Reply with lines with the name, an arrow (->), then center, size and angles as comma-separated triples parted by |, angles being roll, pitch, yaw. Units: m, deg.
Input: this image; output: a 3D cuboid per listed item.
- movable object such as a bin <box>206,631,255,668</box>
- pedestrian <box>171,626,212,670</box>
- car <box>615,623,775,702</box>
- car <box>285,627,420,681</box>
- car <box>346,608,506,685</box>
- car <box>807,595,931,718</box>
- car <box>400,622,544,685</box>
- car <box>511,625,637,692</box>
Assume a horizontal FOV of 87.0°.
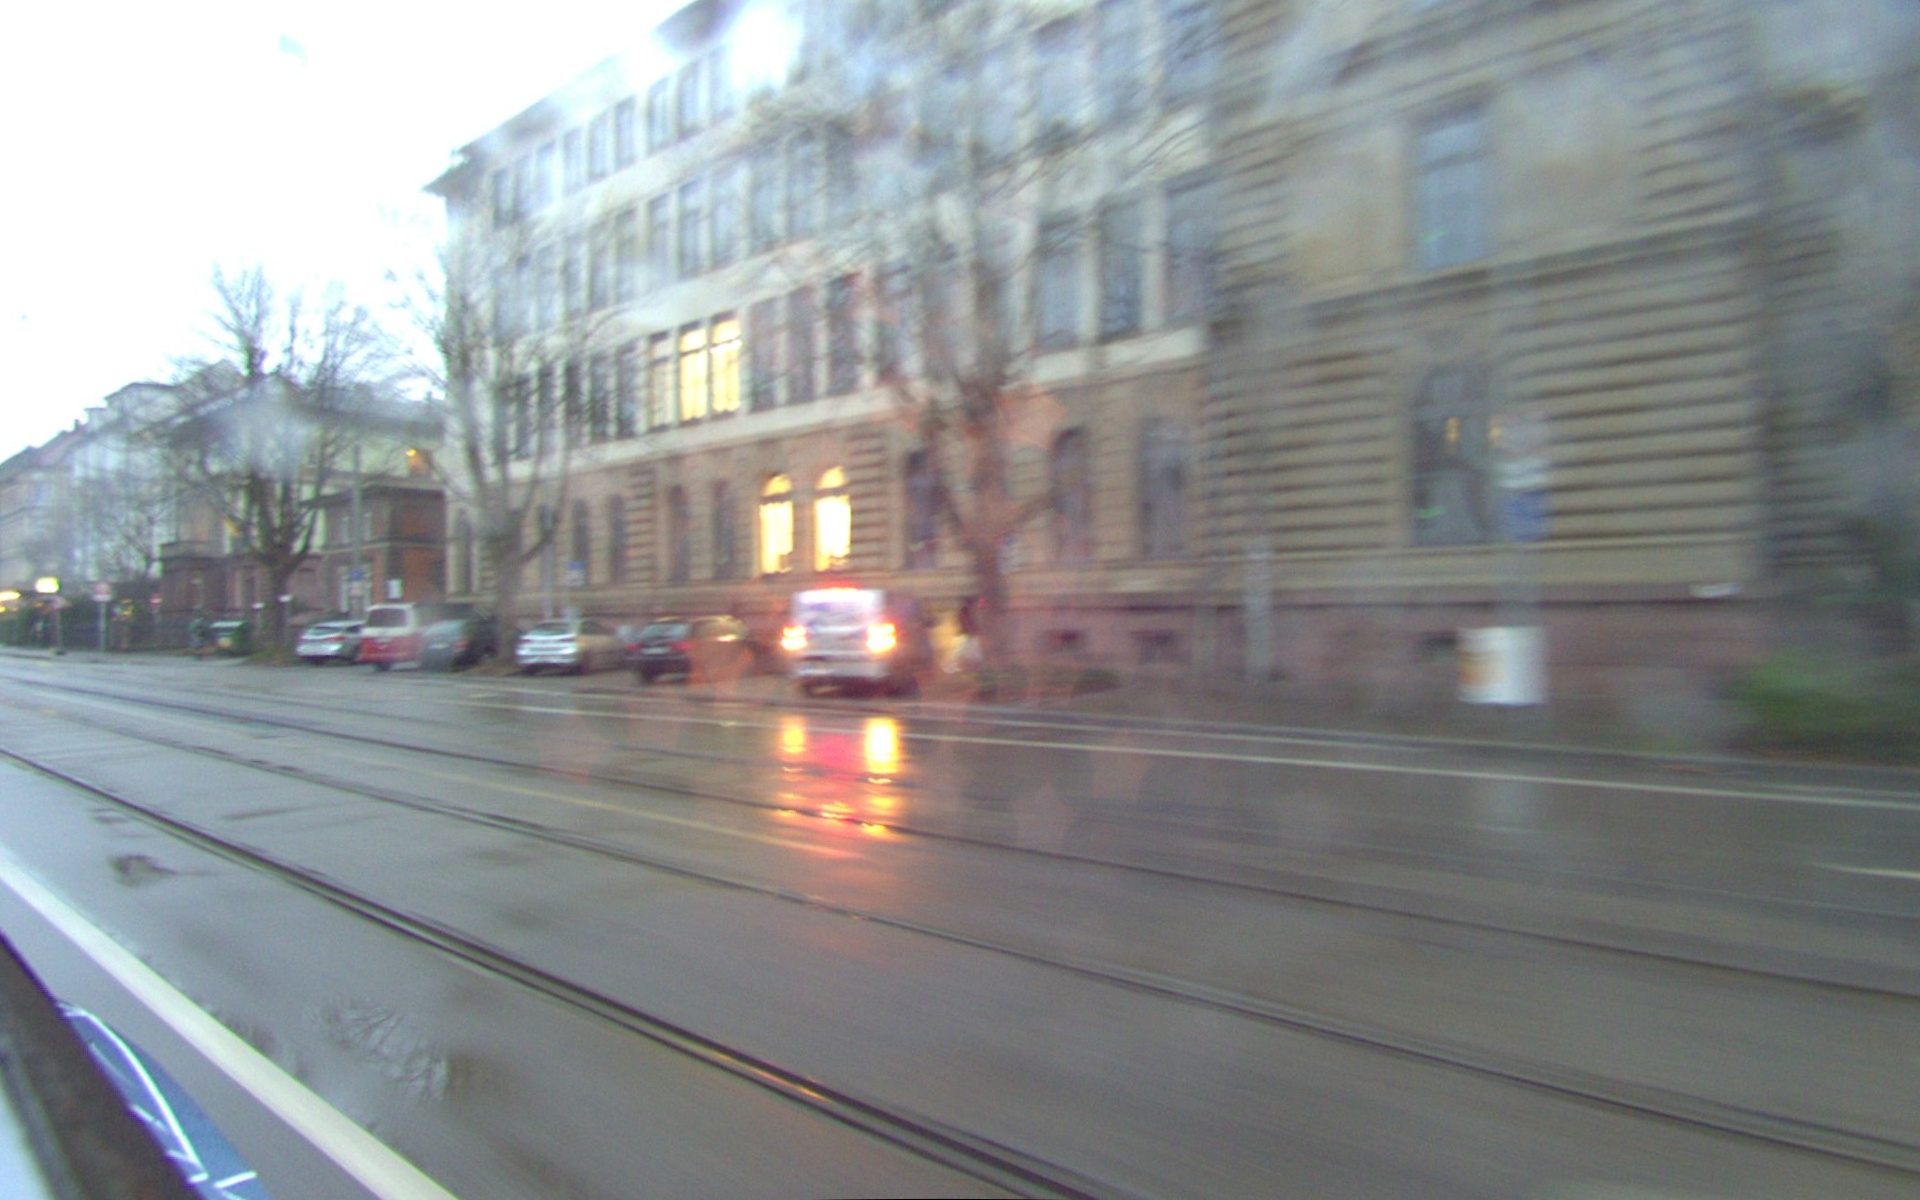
movable object such as a bin -> -30.416, 2.053, 42.222 | 1.326, 1.475, 0.986 | -2, 0, 1
pedestrian -> -31.356, 1.951, 41.301 | 0.939, 1.716, 0.919 | -1, 0, 16
car -> -6.012, 1.383, 23.572 | 1.781, 1.468, 4.461 | -2, 1, 12
car -> -21.135, 1.839, 35.421 | 1.755, 1.603, 4.173 | -2, 1, 9
car -> -16.558, 1.377, 31.678 | 1.945, 2.069, 4.606 | -2, 1, 11
car -> -1.648, 0.966, 19.914 | 1.886, 2.049, 4.803 | -2, 1, 1
car -> -14.192, 1.507, 29.683 | 1.804, 1.551, 3.963 | -2, 1, 11
car -> -10.116, 1.481, 26.812 | 1.617, 1.468, 3.821 | -2, 1, 5
